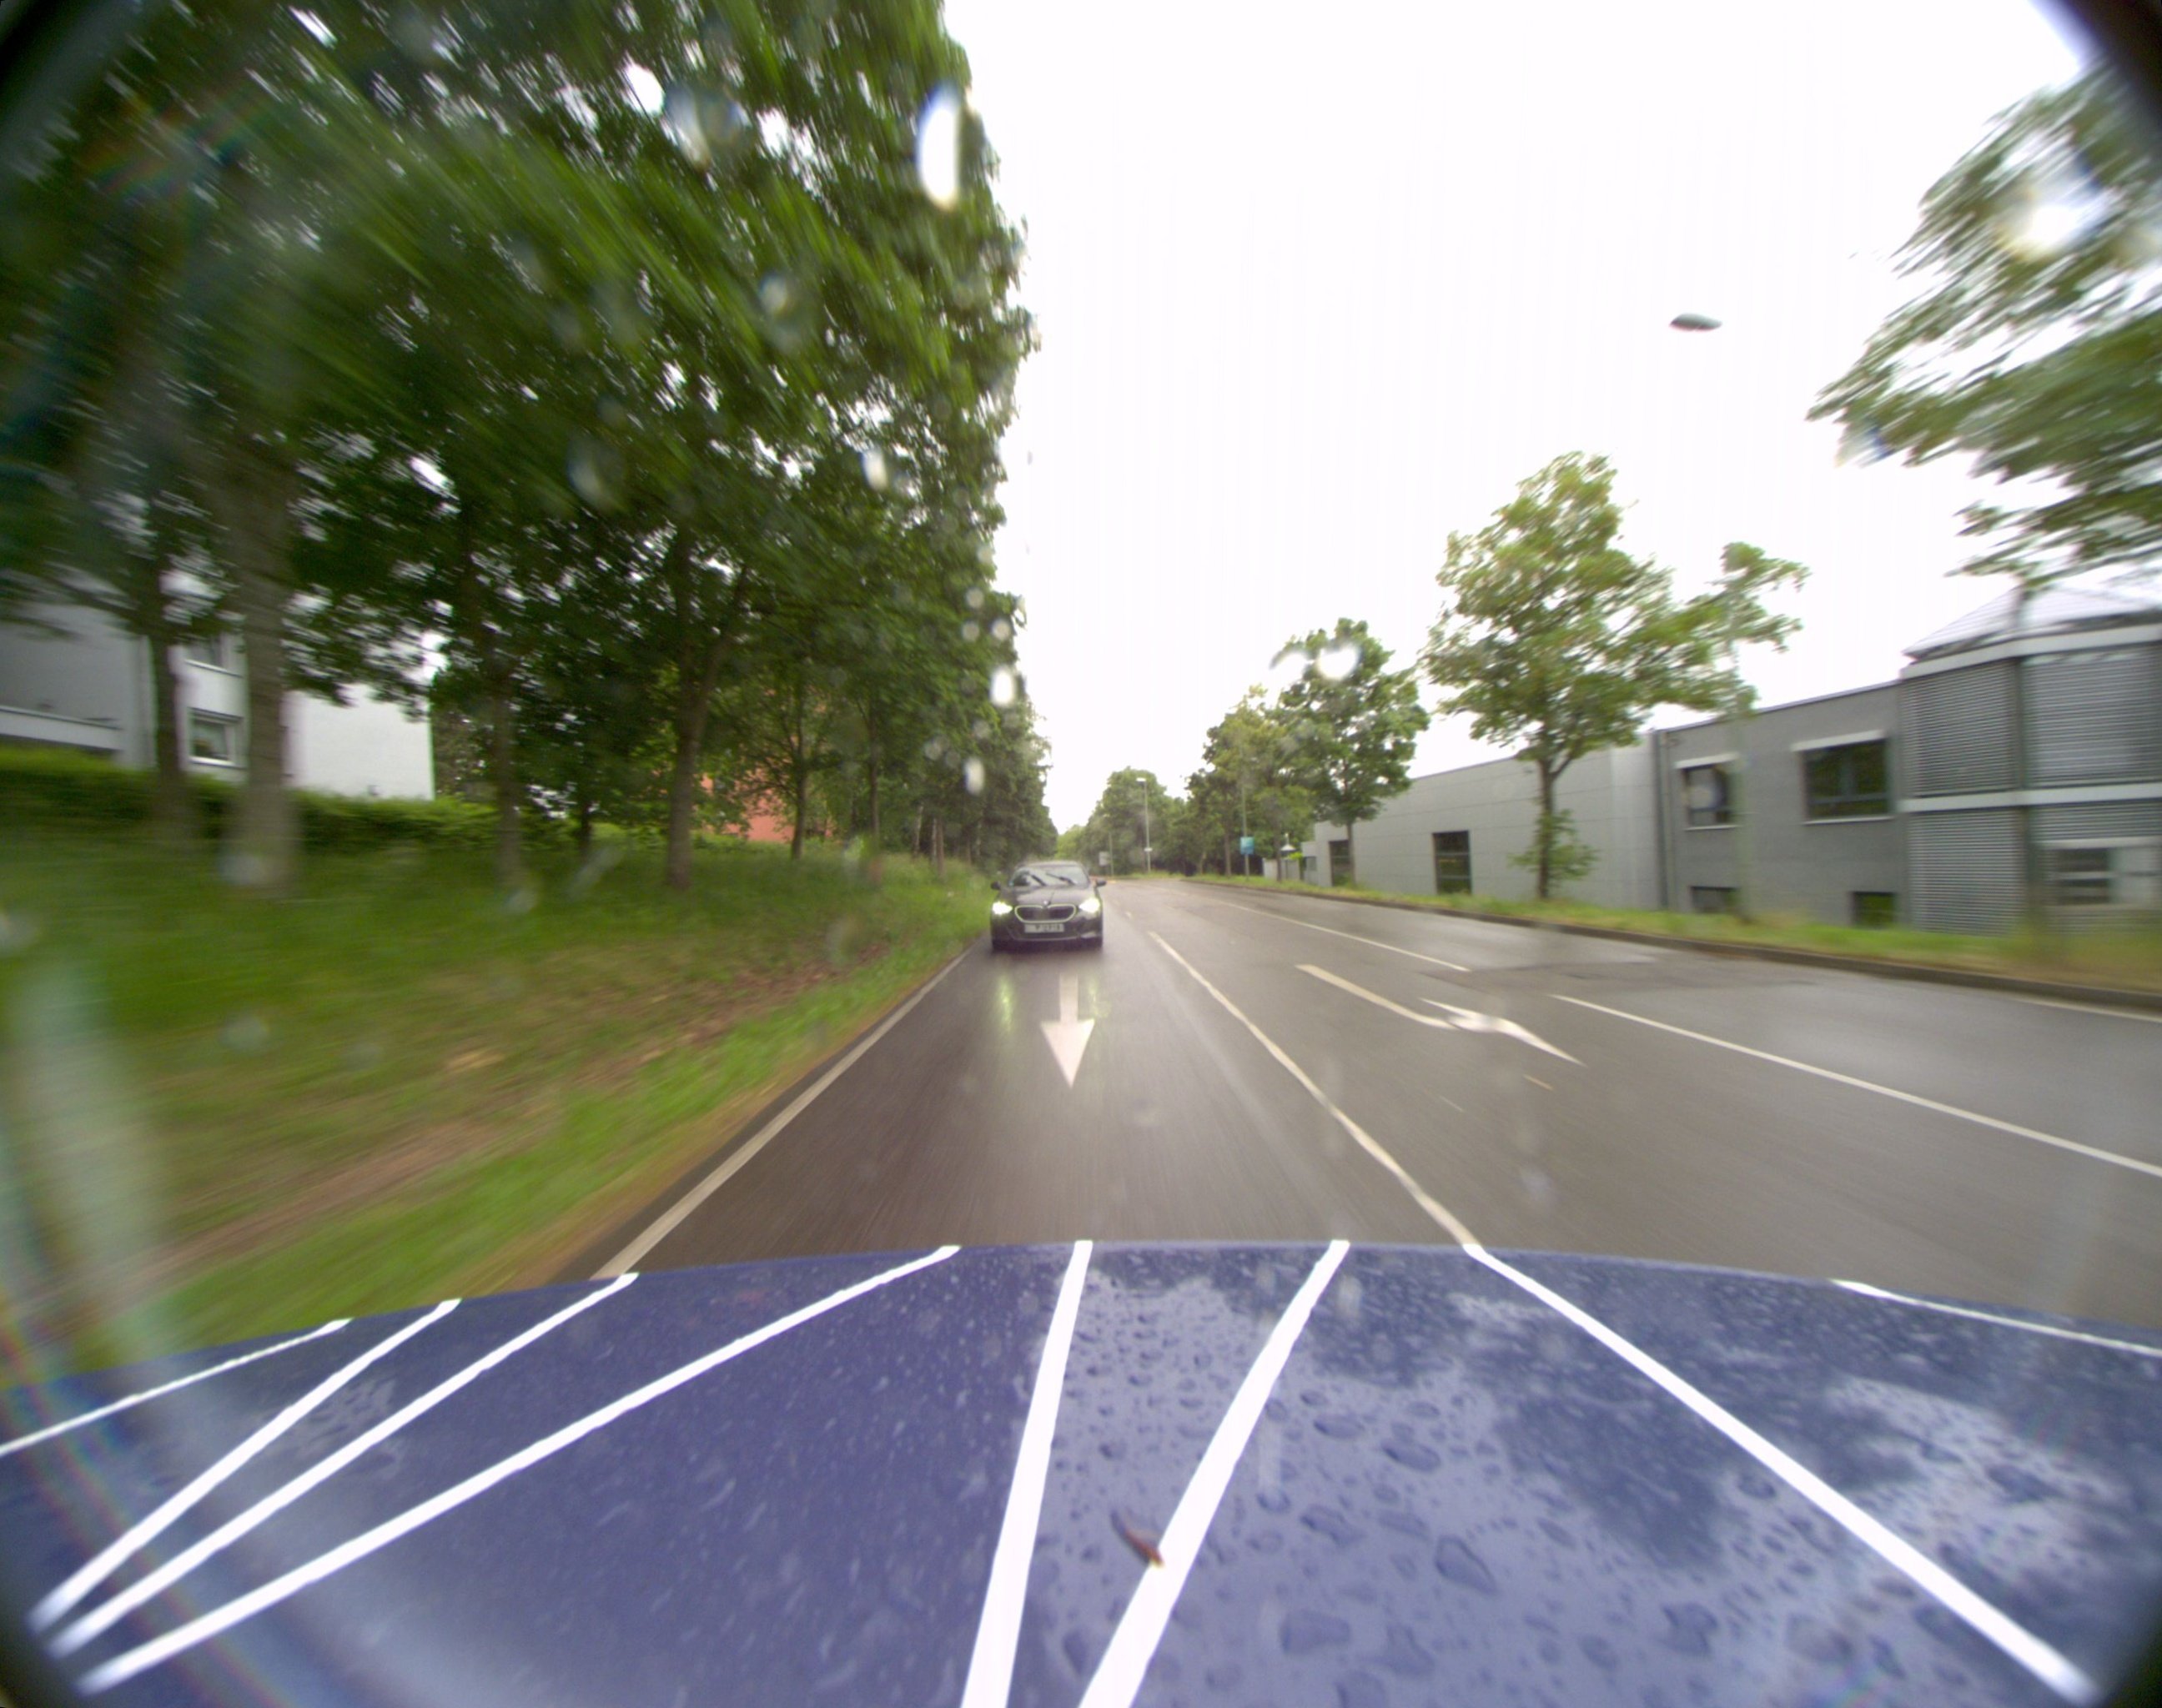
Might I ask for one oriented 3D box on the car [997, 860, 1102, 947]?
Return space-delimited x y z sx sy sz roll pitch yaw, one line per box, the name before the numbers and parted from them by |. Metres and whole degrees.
car | -0.562 0.889 15.504 1.845 1.471 3.999 -1 0 0
